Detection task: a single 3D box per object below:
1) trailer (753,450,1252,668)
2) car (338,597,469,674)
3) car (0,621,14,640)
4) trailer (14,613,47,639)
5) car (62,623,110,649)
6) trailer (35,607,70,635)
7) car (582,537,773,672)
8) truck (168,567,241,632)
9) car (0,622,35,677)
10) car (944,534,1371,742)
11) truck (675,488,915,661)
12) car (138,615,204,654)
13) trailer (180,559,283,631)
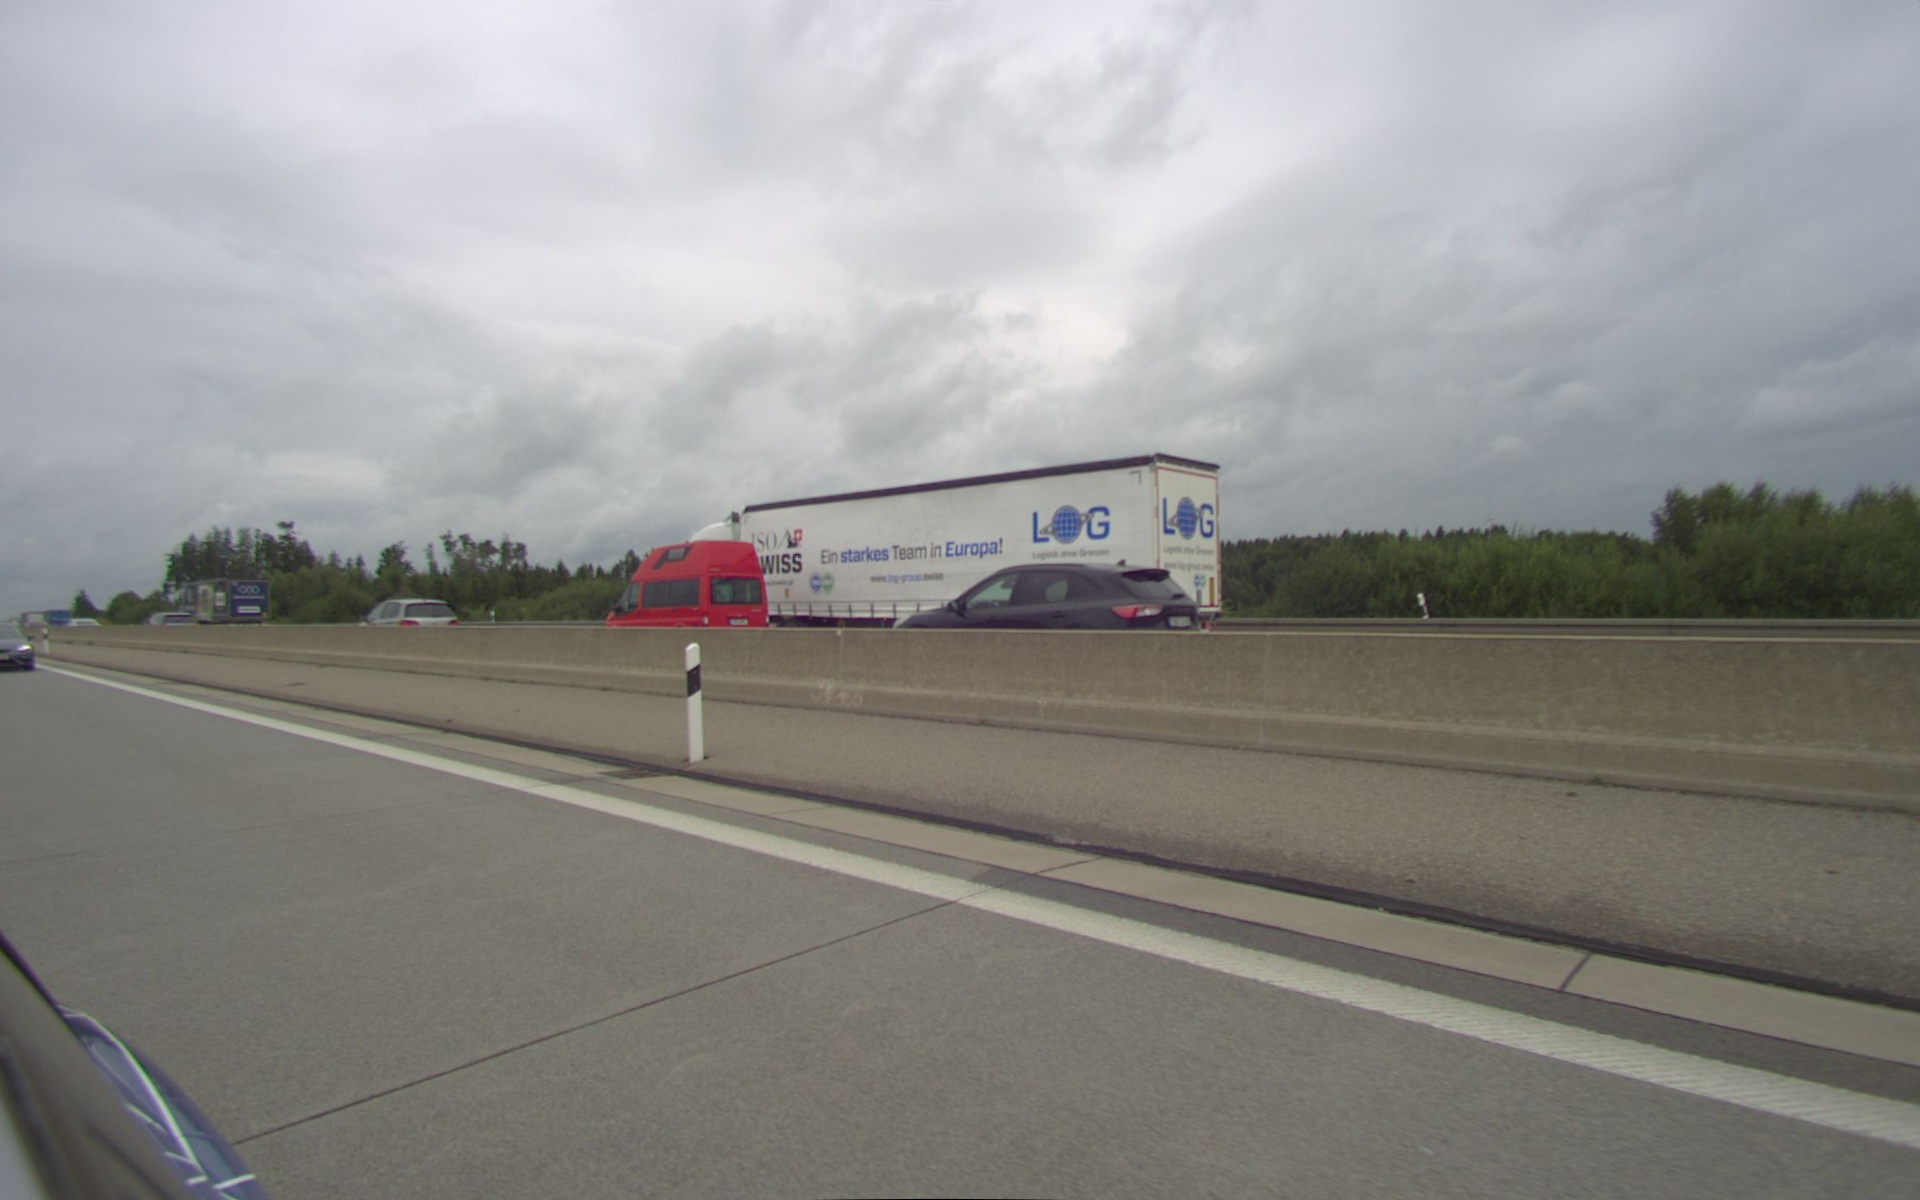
[{"bbox_3d":[0.199,-0.578,24.151,13.010,4.033,2.857,-2,-1,42],"label":"trailer"},{"bbox_3d":[-16.036,1.008,29.065,4.724,2.029,1.782,-2,-1,41],"label":"car"},{"bbox_3d":[-115.498,3.672,121.838,4.863,2.163,1.972,-2,-1,43],"label":"car"},{"bbox_3d":[-159.246,4.572,173.347,12.930,4.233,3.444,-2,-1,44],"label":"trailer"},{"bbox_3d":[-60.234,2.476,69.731,4.525,1.675,1.972,-2,-1,42],"label":"car"},{"bbox_3d":[-130.644,3.057,145.626,12.399,3.866,2.818,-2,-1,43],"label":"trailer"},{"bbox_3d":[-7.051,0.152,24.849,5.577,2.981,1.782,-2,-1,42],"label":"car"},{"bbox_3d":[-59.767,0.020,80.016,5.867,4.856,3.549,-2,-1,42],"label":"truck"},{"bbox_3d":[-28.357,1.450,29.425,4.570,1.492,1.766,-2,-1,43],"label":"car"},{"bbox_3d":[2.158,0.403,12.121,4.835,2.029,1.670,-1,-1,41],"label":"car"},{"bbox_3d":[-4.845,-0.546,28.712,7.134,4.323,2.853,-2,-1,42],"label":"truck"},{"bbox_3d":[-37.950,1.648,48.634,4.427,1.779,1.725,-2,-1,42],"label":"car"},{"bbox_3d":[-53.972,-0.198,74.760,12.904,4.836,3.560,-2,-1,42],"label":"trailer"}]
